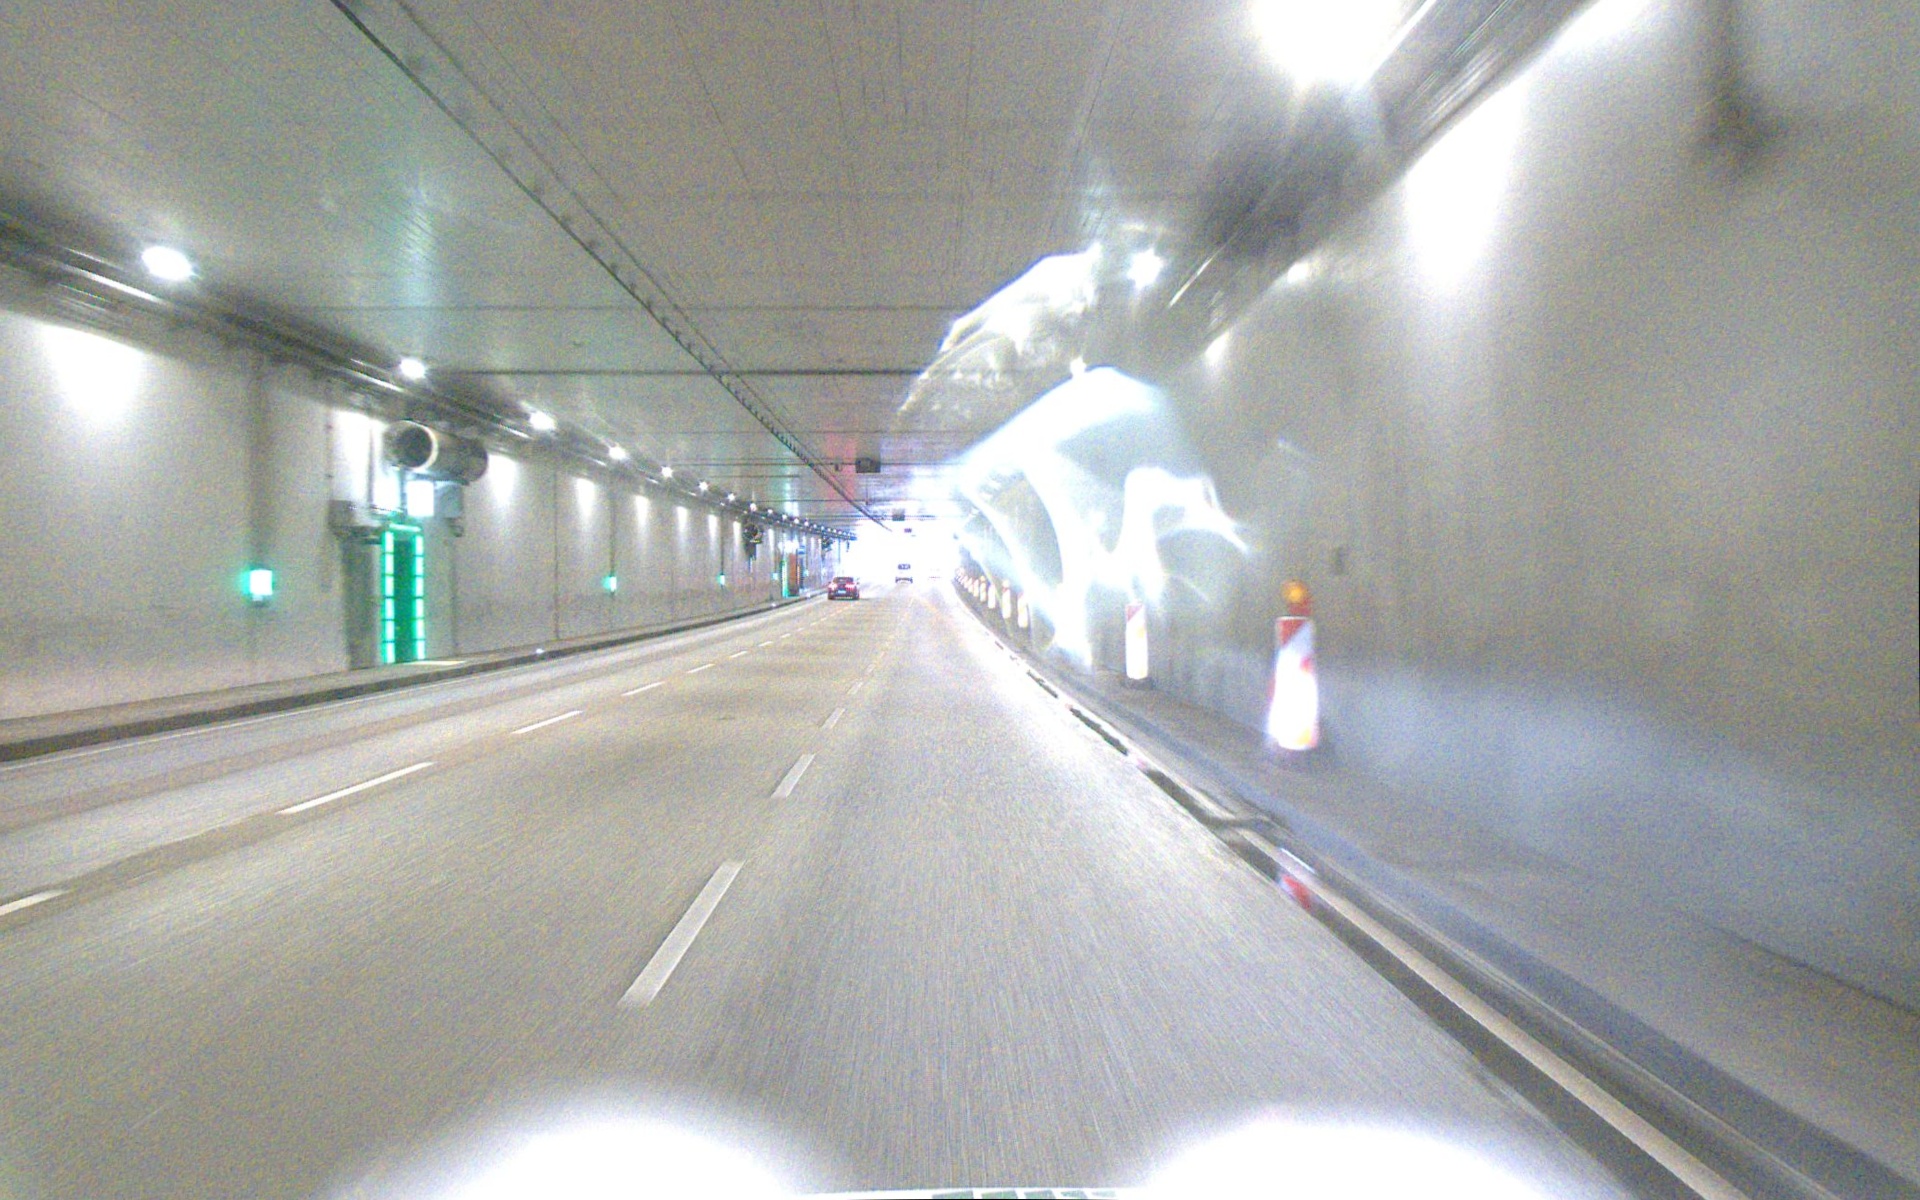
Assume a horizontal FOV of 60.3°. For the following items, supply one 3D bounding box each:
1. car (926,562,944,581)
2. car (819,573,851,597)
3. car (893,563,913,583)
[{"bbox_3d":[-2.811,-3.200,186.006,1.953,2.049,3.999,0,0,-1],"label":"car"},{"bbox_3d":[-7.944,-0.966,104.916,1.955,1.473,4.310,1,1,-5],"label":"car"},{"bbox_3d":[-5.816,-2.758,169.355,1.953,2.049,3.999,0,0,-1],"label":"car"}]
